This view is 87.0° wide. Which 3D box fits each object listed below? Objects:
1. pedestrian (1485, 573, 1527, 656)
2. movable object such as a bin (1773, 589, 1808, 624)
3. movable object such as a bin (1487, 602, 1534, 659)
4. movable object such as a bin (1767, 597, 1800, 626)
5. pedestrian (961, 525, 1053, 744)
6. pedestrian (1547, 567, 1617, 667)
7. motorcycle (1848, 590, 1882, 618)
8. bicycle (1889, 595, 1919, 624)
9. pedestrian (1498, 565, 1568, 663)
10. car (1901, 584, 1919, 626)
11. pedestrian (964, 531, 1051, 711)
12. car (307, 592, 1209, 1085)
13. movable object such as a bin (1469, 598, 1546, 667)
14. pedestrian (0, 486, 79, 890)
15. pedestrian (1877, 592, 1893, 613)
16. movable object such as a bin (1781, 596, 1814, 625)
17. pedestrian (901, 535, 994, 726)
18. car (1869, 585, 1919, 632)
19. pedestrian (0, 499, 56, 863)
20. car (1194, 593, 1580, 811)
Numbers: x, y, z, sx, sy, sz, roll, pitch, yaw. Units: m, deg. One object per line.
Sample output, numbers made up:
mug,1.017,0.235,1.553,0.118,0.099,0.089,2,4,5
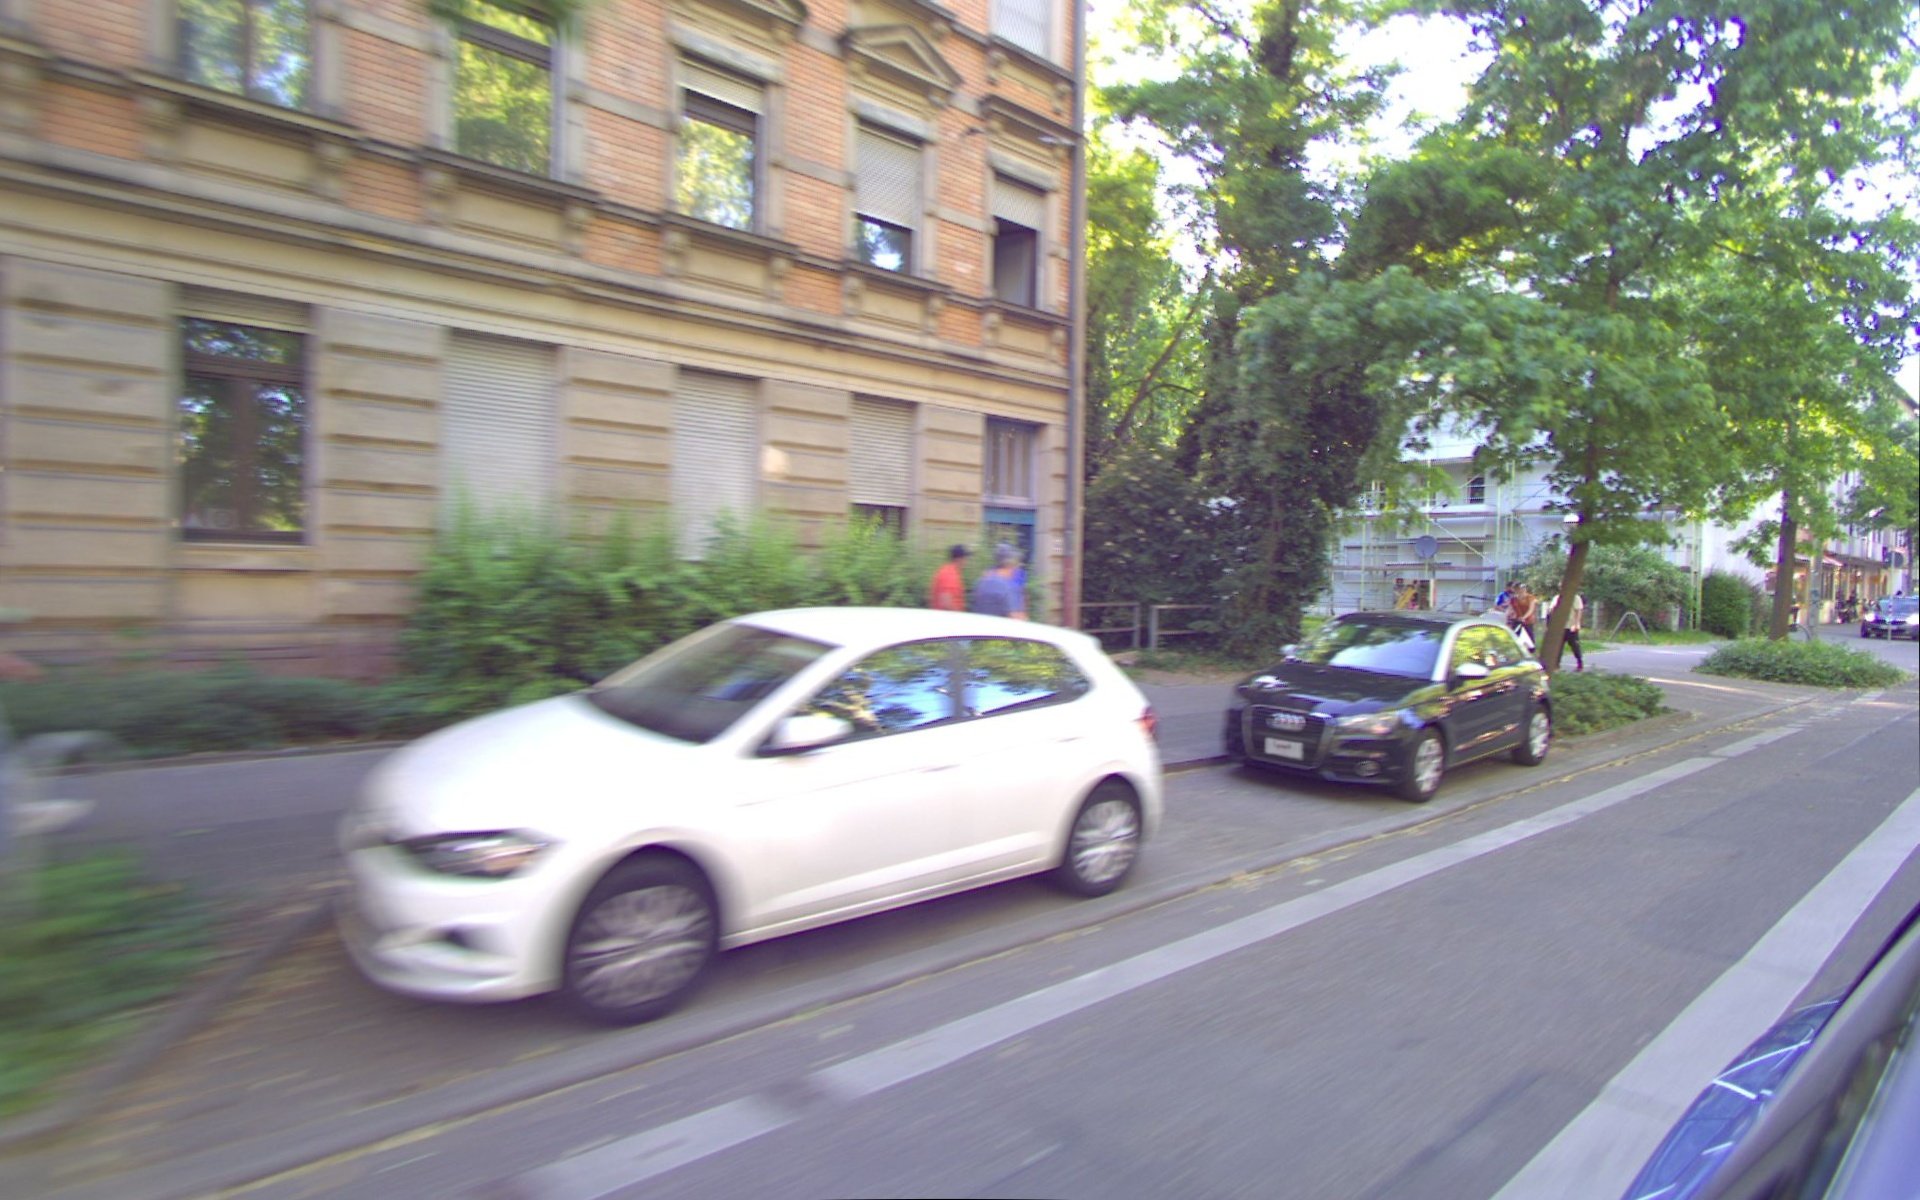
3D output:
pedestrian,11.784,0.298,21.847,0.544,1.747,0.619,0,0,-37
movable object such as a bin,35.095,0.244,42.756,0.811,1.414,1.001,0,3,-42
movable object such as a bin,11.526,0.616,21.167,0.665,1.140,0.942,0,0,42
movable object such as a bin,33.105,0.457,40.691,0.685,1.124,0.882,0,3,-42
pedestrian,0.398,0.278,8.830,0.588,1.816,0.730,0,0,-18
pedestrian,11.751,0.313,19.130,0.836,1.815,0.729,1,2,-29
motorcycle,48.140,0.224,53.835,2.605,1.332,0.954,2,5,-43
bicycle,42.233,0.454,44.248,1.011,1.224,2.210,0,3,-40
pedestrian,11.094,0.261,19.602,0.948,1.815,0.729,1,2,-29
car,45.839,0.246,47.388,4.118,1.919,1.999,0,2,-39
pedestrian,0.503,0.209,10.700,0.716,1.816,0.599,0,0,-43
car,-0.764,0.710,5.094,4.035,1.384,1.888,0,4,-41
movable object such as a bin,10.267,0.601,18.964,1.278,1.217,0.642,1,2,-30
pedestrian,-4.483,0.372,4.419,0.941,1.714,0.727,0,0,-43
pedestrian,54.676,0.153,59.828,0.677,1.220,0.640,0,0,39
movable object such as a bin,33.844,0.417,40.907,0.685,1.124,0.882,0,3,-42
pedestrian,-0.119,0.286,10.075,0.598,1.816,0.717,0,0,44
car,36.489,0.326,38.741,4.361,1.641,1.767,1,3,-39
pedestrian,-4.978,0.381,4.922,0.841,1.731,0.727,0,0,-41
car,3.931,0.714,9.040,3.777,1.429,1.676,0,4,-42
